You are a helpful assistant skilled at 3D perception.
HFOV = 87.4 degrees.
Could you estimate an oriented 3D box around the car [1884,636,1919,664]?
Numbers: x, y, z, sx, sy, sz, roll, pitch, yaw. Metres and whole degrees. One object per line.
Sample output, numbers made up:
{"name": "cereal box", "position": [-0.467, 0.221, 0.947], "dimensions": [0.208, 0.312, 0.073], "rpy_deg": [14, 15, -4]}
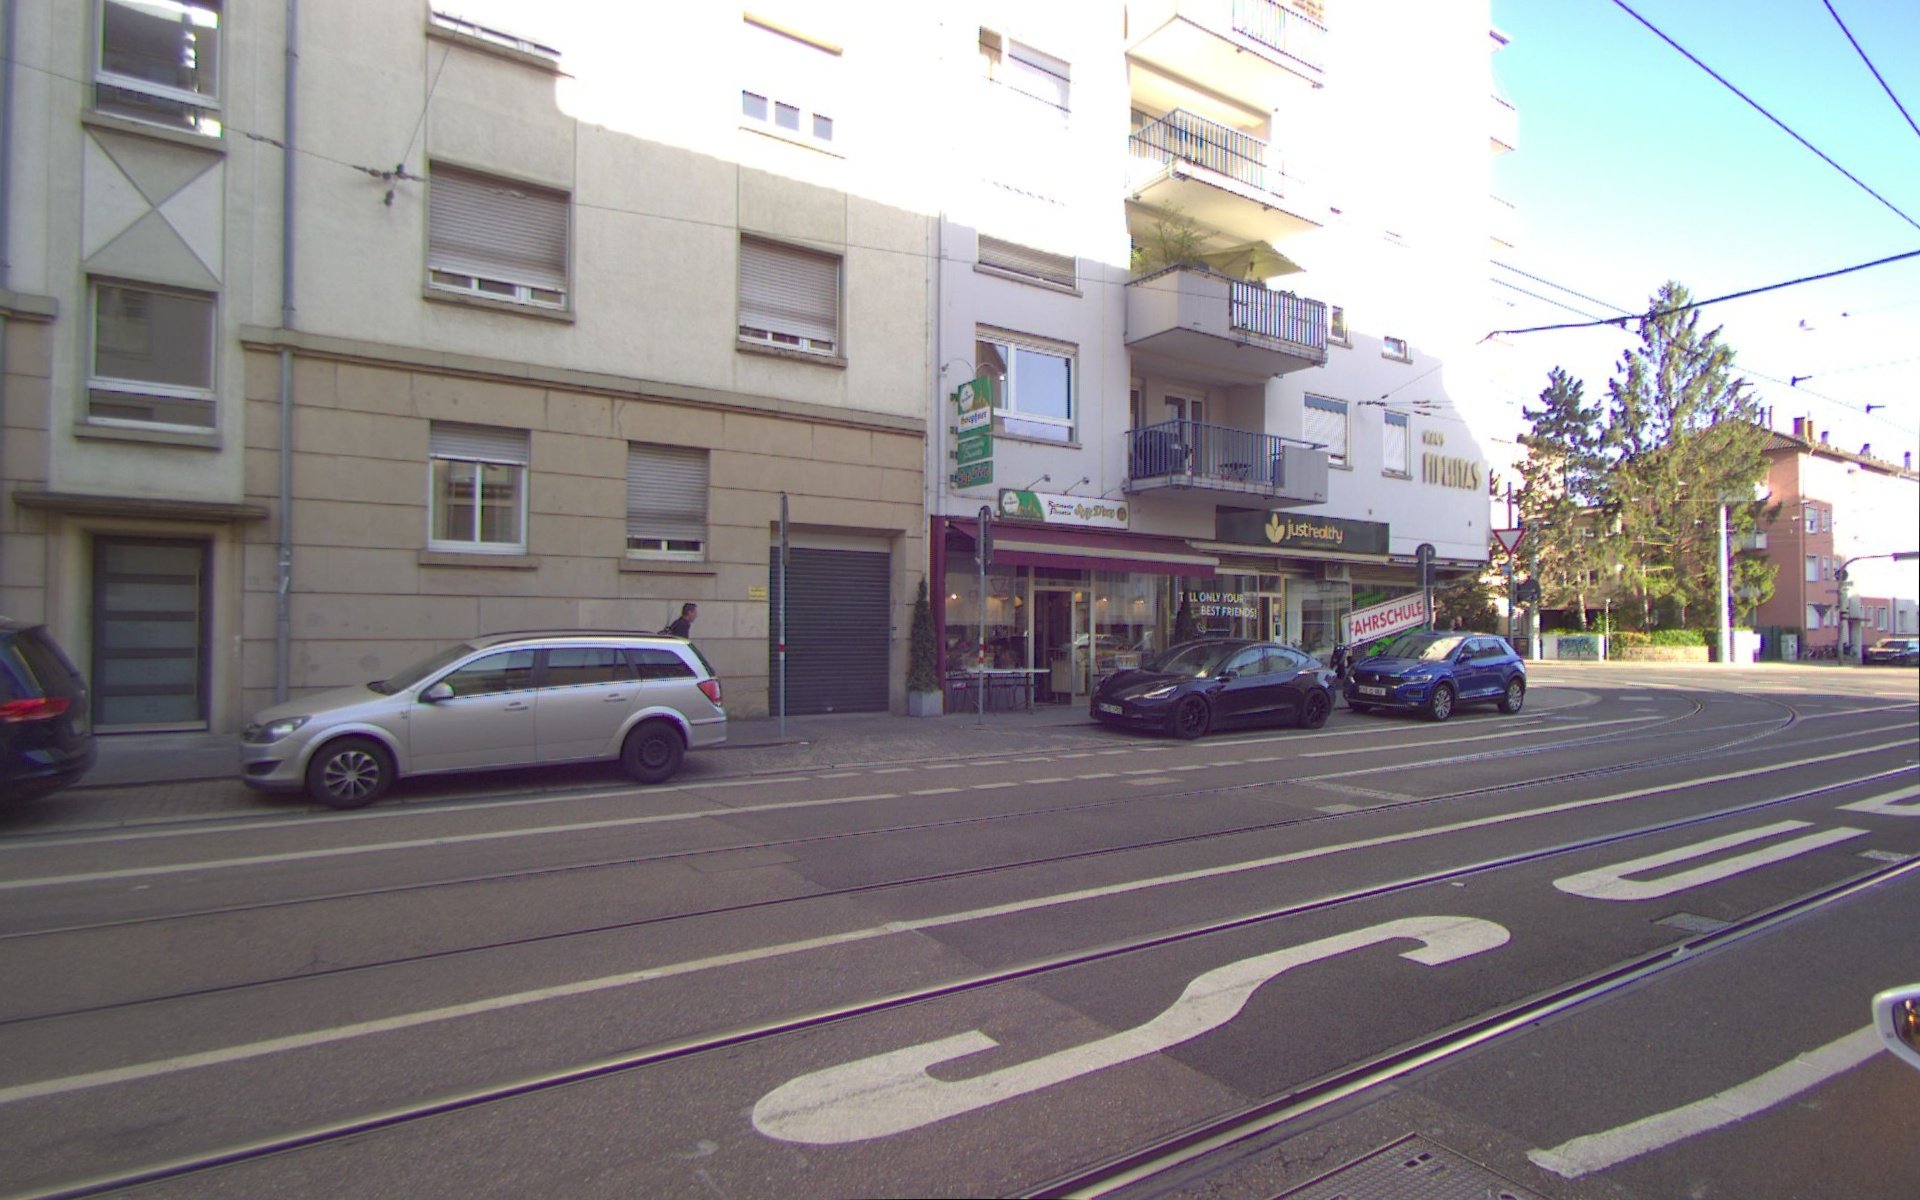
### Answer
{"name": "car", "position": [54.276, 2.839, 57.016], "dimensions": [4.006, 1.539, 1.938], "rpy_deg": [1, -2, -36]}

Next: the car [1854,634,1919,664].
{"name": "car", "position": [49.727, 2.615, 53.786], "dimensions": [3.961, 1.539, 1.938], "rpy_deg": [1, -2, -36]}

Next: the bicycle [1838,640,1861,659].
{"name": "bicycle", "position": [53.160, 2.937, 60.028], "dimensions": [1.892, 1.097, 0.605], "rpy_deg": [1, -2, -37]}

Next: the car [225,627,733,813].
{"name": "car", "position": [-4.705, 1.050, 10.216], "dimensions": [4.343, 1.497, 1.785], "rpy_deg": [1, -1, -34]}

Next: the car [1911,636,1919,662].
{"name": "car", "position": [58.130, 2.896, 59.455], "dimensions": [3.961, 1.539, 1.938], "rpy_deg": [1, -2, -36]}

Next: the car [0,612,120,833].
{"name": "car", "position": [-8.992, 0.881, 7.194], "dimensions": [4.343, 1.620, 1.785], "rpy_deg": [1, -1, -34]}

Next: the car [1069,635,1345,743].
{"name": "car", "position": [4.014, 1.316, 16.044], "dimensions": [4.442, 1.422, 1.714], "rpy_deg": [1, 1, -34]}

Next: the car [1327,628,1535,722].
{"name": "car", "position": [8.993, 1.346, 19.087], "dimensions": [4.072, 1.525, 1.714], "rpy_deg": [1, 1, -34]}

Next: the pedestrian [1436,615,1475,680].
{"name": "pedestrian", "position": [14.257, 1.361, 28.898], "dimensions": [0.707, 1.859, 0.771], "rpy_deg": [0, -1, -3]}

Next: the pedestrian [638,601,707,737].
{"name": "pedestrian", "position": [-3.810, 0.895, 13.303], "dimensions": [0.722, 1.731, 0.600], "rpy_deg": [1, -2, -32]}

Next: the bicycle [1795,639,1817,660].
{"name": "bicycle", "position": [46.885, 2.724, 55.635], "dimensions": [1.895, 1.097, 0.634], "rpy_deg": [2, -2, -41]}

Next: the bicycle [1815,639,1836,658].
{"name": "bicycle", "position": [50.743, 2.860, 58.884], "dimensions": [1.892, 1.097, 0.533], "rpy_deg": [1, -2, -37]}

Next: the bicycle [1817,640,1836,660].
{"name": "bicycle", "position": [47.608, 2.746, 55.168], "dimensions": [1.895, 1.097, 0.532], "rpy_deg": [2, -2, -41]}

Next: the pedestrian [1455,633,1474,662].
{"name": "pedestrian", "position": [30.142, 2.842, 59.992], "dimensions": [0.672, 1.725, 0.805], "rpy_deg": [1, -2, -30]}

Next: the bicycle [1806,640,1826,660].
{"name": "bicycle", "position": [47.181, 2.734, 55.343], "dimensions": [1.895, 1.097, 0.532], "rpy_deg": [2, -2, -41]}
